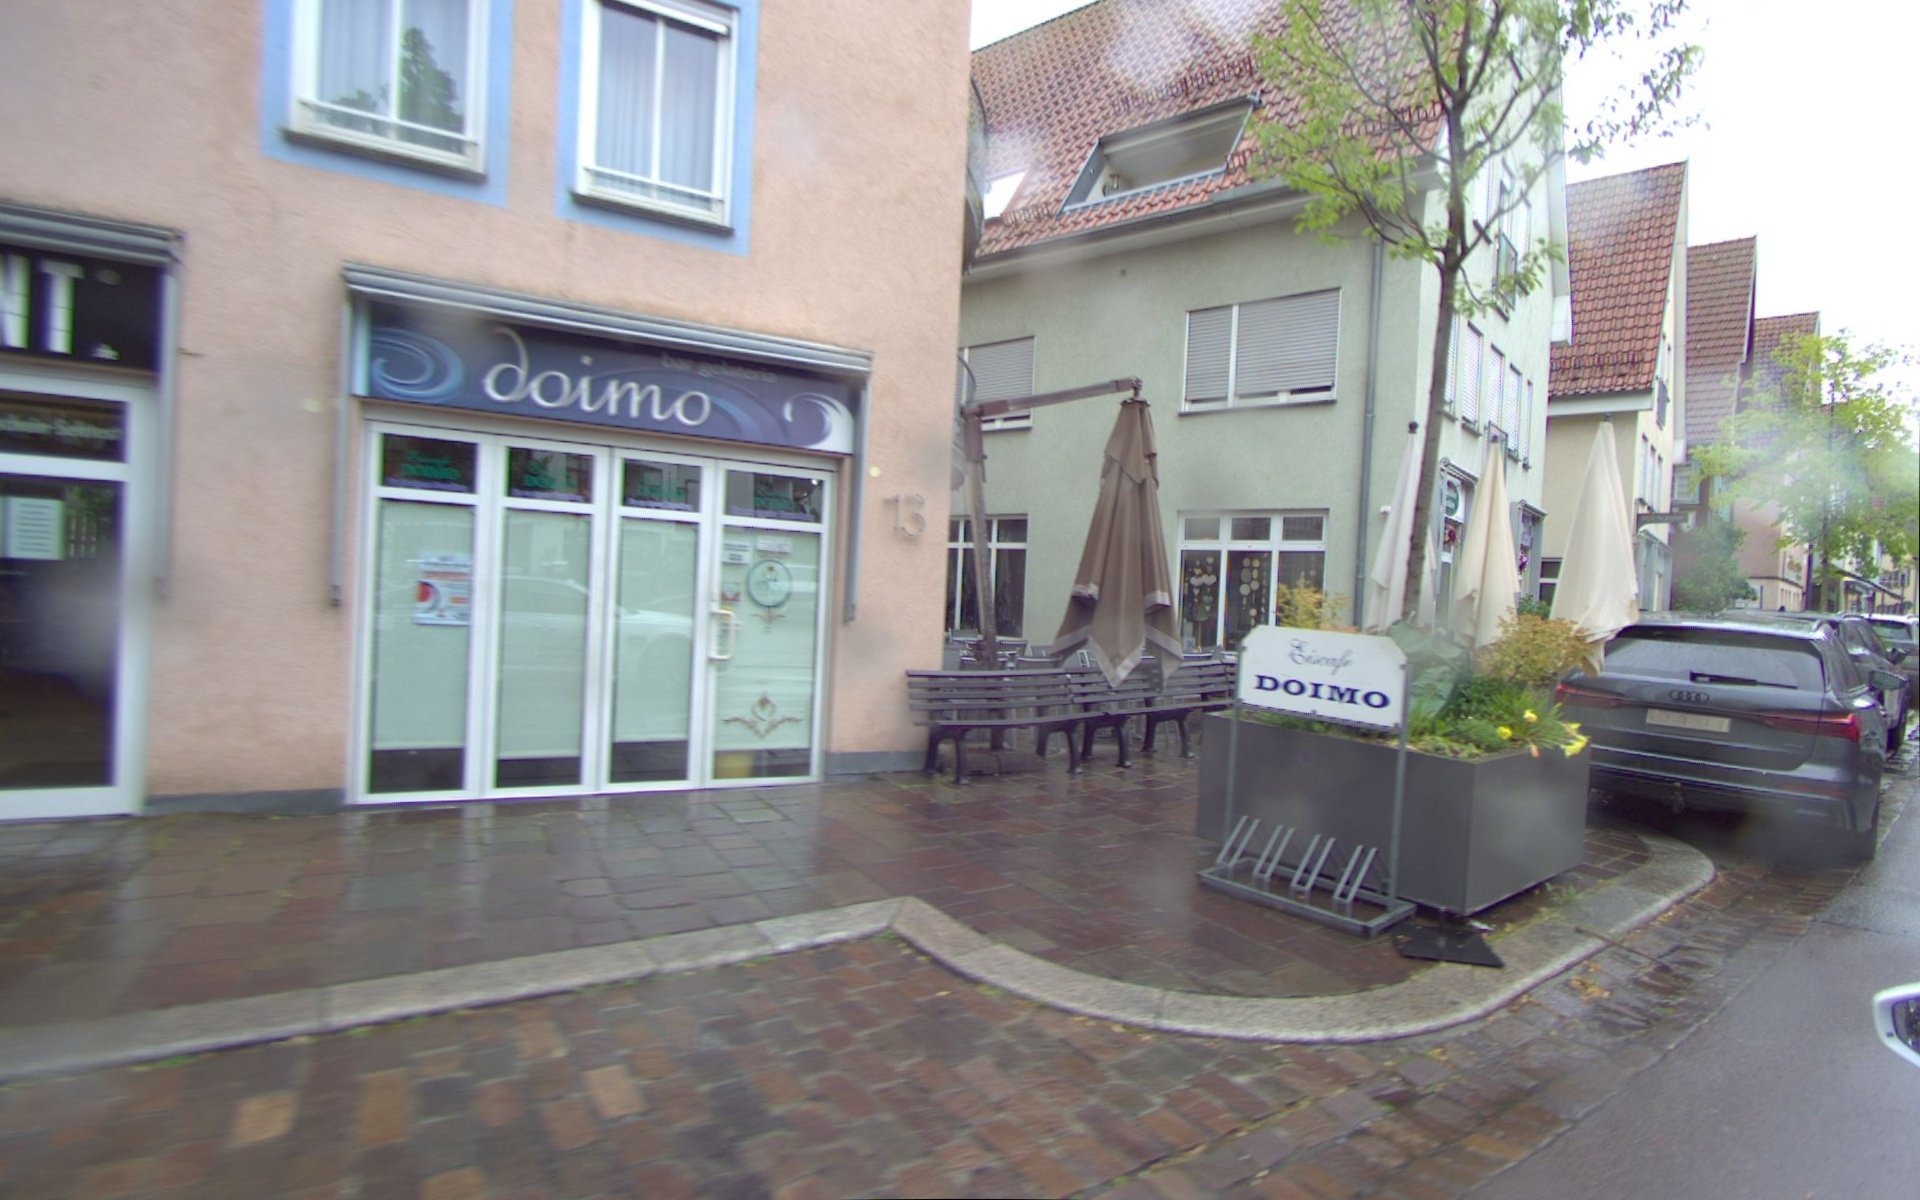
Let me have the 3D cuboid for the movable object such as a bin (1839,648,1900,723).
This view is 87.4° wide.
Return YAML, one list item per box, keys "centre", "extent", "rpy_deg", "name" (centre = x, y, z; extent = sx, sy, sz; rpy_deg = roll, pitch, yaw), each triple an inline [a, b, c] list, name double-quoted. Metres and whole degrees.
- centre: [14.046, 1.307, 15.512]
  extent: [0.720, 1.093, 0.615]
  rpy_deg: [3, -1, -41]
  name: "movable object such as a bin"

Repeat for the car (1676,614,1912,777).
- centre: [9.868, 1.032, 11.782]
  extent: [3.948, 1.566, 1.578]
  rpy_deg: [3, -2, -42]
  name: "car"

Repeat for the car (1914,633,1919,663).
- centre: [50.436, 2.505, 51.480]
  extent: [1.971, 1.491, 3.980]
  rpy_deg: [3, 0, 41]
  name: "car"

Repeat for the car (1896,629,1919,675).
- centre: [35.239, 1.918, 36.344]
  extent: [3.973, 1.587, 1.809]
  rpy_deg: [4, -2, -44]
  name: "car"

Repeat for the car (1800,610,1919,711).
- centre: [18.078, 1.173, 19.740]
  extent: [4.447, 1.697, 1.755]
  rpy_deg: [3, 0, -42]
  name: "car"

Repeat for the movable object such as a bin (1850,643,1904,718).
- centre: [15.588, 1.361, 17.069]
  extent: [0.519, 1.217, 0.597]
  rpy_deg: [3, -1, -40]
  name: "movable object such as a bin"

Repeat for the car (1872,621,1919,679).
- centre: [27.704, 1.471, 28.962]
  extent: [4.254, 1.572, 1.815]
  rpy_deg: [4, -2, -44]
  name: "car"

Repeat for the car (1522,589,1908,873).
- centre: [5.949, 0.749, 7.743]
  extent: [1.781, 1.452, 4.602]
  rpy_deg: [4, 2, 42]
  name: "car"

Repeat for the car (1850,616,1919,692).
- centre: [23.292, 1.344, 24.666]
  extent: [4.511, 1.697, 1.815]
  rpy_deg: [4, -2, -44]
  name: "car"
